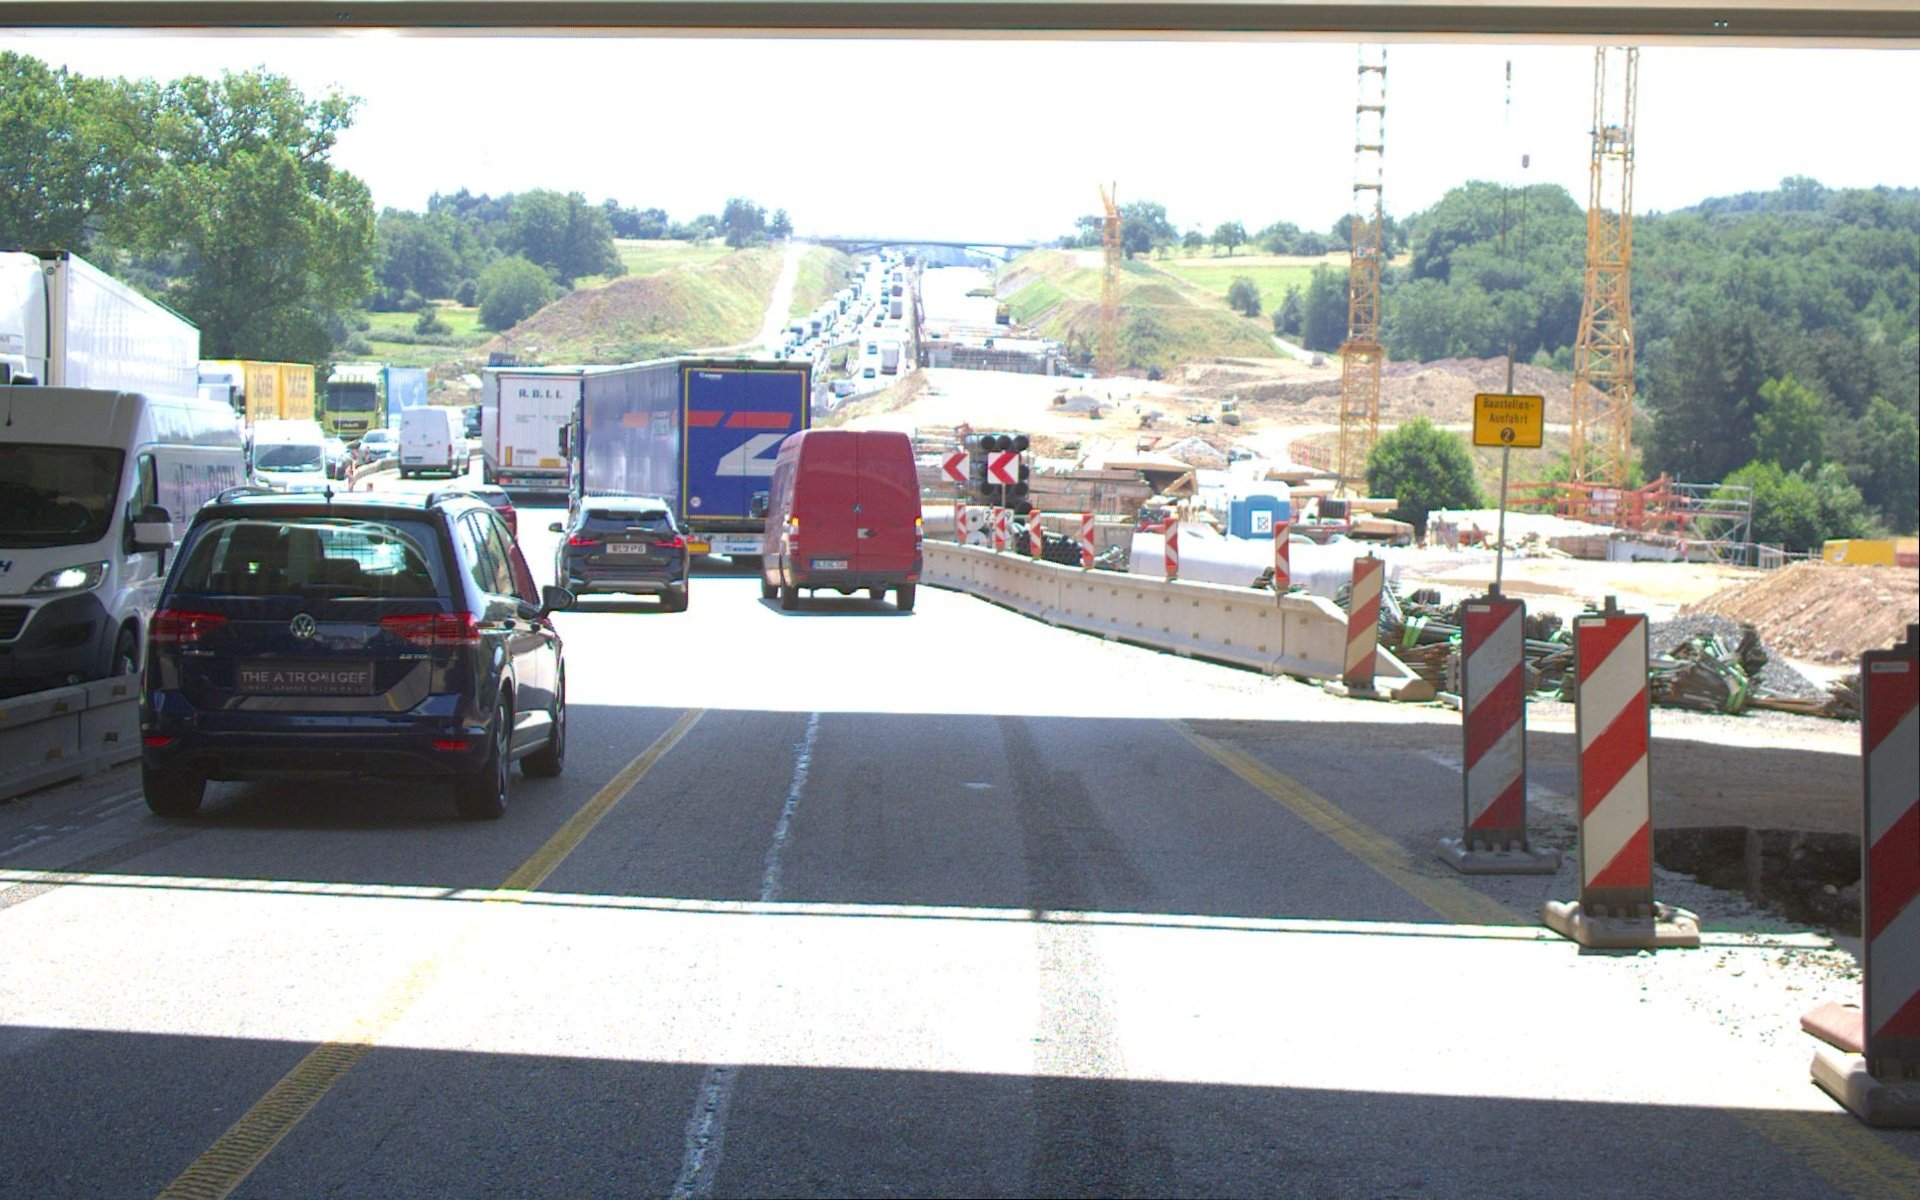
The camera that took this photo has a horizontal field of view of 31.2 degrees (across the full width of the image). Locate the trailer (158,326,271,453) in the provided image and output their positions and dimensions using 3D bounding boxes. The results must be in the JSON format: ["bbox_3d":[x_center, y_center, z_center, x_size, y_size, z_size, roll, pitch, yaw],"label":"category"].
[{"bbox_3d":[-25.627,-7.209,118.438,2.865,4.214,5.220,1,3,-2],"label":"trailer"}]

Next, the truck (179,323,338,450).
[{"bbox_3d":[-25.759,-7.813,127.114,2.807,4.327,15.378,2,3,-1],"label":"truck"}]

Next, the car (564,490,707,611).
[{"bbox_3d":[-4.710,-0.762,50.352,1.833,1.629,4.390,1,2,-2],"label":"car"}]

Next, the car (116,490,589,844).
[{"bbox_3d":[-3.110,0.248,18.430,1.734,1.629,4.390,1,2,0],"label":"car"}]

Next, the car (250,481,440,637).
[{"bbox_3d":[-6.973,-0.510,39.303,1.746,1.665,4.080,1,2,-5],"label":"car"}]

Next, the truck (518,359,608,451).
[{"bbox_3d":[-16.997,-8.265,146.620,3.218,3.349,8.943,1,0,-10],"label":"truck"}]

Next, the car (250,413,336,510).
[{"bbox_3d":[-18.080,-3.692,92.963,2.070,2.495,6.486,1,1,-13],"label":"car"}]

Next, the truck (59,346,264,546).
[{"bbox_3d":[-15.492,-2.933,66.258,2.816,3.563,8.501,1,2,-20],"label":"truck"}]

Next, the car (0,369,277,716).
[{"bbox_3d":[-6.805,-0.449,26.163,1.980,2.322,6.058,1,1,0],"label":"car"}]

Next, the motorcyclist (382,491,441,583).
[{"bbox_3d":[-8.592,-0.978,53.848,0.810,1.411,0.743,1,0,-3],"label":"motorcyclist"}]

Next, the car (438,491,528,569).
[{"bbox_3d":[-10.791,-1.602,77.665,1.833,1.629,4.107,0,3,-10],"label":"car"}]

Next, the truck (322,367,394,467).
[{"bbox_3d":[-26.826,-8.162,153.291,2.625,4.255,4.733,2,3,-5],"label":"truck"}]

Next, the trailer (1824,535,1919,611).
[{"bbox_3d":[19.816,-0.583,73.108,1.623,1.481,3.827,2,2,-4],"label":"trailer"}]

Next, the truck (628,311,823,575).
[{"bbox_3d":[-4.749,-3.158,68.280,2.944,4.928,6.744,1,3,-11],"label":"truck"}]

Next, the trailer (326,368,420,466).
[{"bbox_3d":[-27.234,-8.489,160.045,2.647,4.277,13.312,2,3,-3],"label":"trailer"}]

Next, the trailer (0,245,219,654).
[{"bbox_3d":[-11.132,-1.765,41.116,2.876,4.026,14.362,2,2,-7],"label":"trailer"}]

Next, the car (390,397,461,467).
[{"bbox_3d":[-19.168,-6.058,123.366,2.264,2.346,5.162,1,4,-6],"label":"car"}]

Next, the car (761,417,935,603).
[{"bbox_3d":[-1.751,-1.278,51.633,2.149,2.602,5.439,1,0,-6],"label":"car"}]

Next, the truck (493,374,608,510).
[{"bbox_3d":[-12.559,-4.883,105.043,3.181,3.975,6.744,1,3,-9],"label":"truck"}]

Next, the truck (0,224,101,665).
[{"bbox_3d":[-10.354,-1.555,33.872,2.873,4.037,4.886,2,1,-6],"label":"truck"}]
